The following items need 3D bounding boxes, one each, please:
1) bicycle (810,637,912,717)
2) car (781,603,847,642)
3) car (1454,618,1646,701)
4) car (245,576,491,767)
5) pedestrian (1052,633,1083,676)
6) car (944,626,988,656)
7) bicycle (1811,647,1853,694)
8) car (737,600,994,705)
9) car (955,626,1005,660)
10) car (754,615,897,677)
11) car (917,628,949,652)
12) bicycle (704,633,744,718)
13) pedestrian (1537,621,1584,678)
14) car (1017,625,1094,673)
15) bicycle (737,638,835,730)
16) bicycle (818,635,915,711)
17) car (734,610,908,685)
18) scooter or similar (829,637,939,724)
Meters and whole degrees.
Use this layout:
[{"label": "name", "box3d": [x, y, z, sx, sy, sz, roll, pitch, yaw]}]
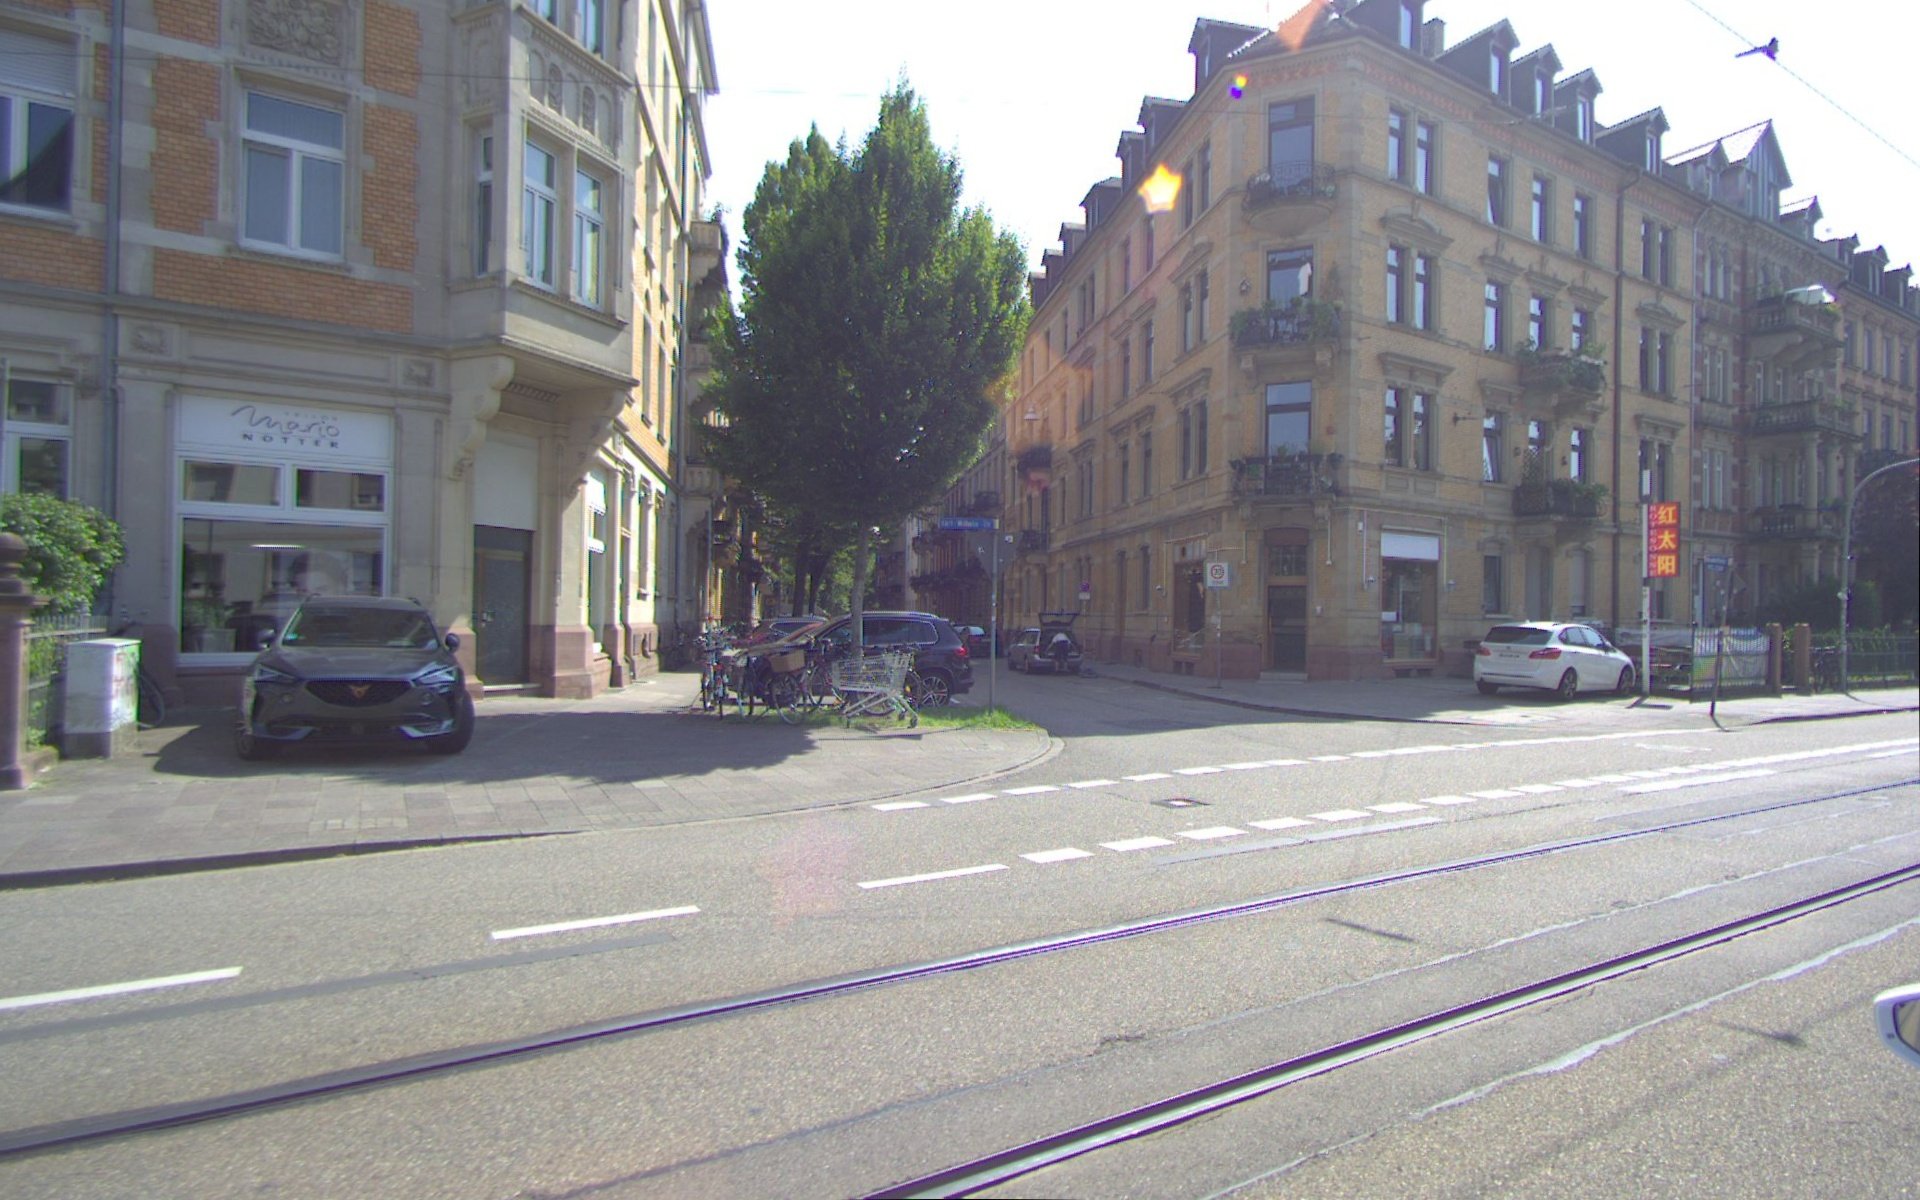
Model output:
[{"label": "bicycle", "box3d": [-1.416, 1.098, 14.417, 1.424, 1.113, 0.390, 1, 0, -6]}, {"label": "car", "box3d": [-10.070, 1.570, 69.194, 4.302, 2.508, 1.962, 3, -2, -11]}, {"label": "car", "box3d": [12.782, 1.247, 21.678, 4.316, 1.615, 1.981, 2, -2, -35]}, {"label": "car", "box3d": [-6.206, 0.625, 10.764, 1.856, 1.615, 4.084, 2, -1, -29]}, {"label": "pedestrian", "box3d": [3.222, 1.635, 30.180, 0.786, 1.243, 0.583, 2, -1, -5]}, {"label": "car", "box3d": [0.256, 2.020, 49.699, 1.577, 1.381, 3.411, 2, -2, -9]}, {"label": "bicycle", "box3d": [21.617, 1.730, 24.905, 1.552, 1.113, 0.388, 1, -1, -34]}, {"label": "car", "box3d": [-1.705, 0.924, 17.858, 4.281, 1.711, 1.997, 1, -1, -10]}, {"label": "car", "box3d": [0.854, 1.866, 44.596, 1.597, 1.381, 3.592, 2, -2, -9]}, {"label": "car", "box3d": [-3.648, 1.244, 27.302, 3.691, 1.496, 1.790, 3, -2, -9]}, {"label": "car", "box3d": [-1.635, 2.368, 60.438, 1.474, 1.327, 3.327, 2, -2, -9]}, {"label": "bicycle", "box3d": [-3.370, 1.043, 14.270, 0.384, 1.113, 1.445, 1, 0, -19]}, {"label": "pedestrian", "box3d": [16.513, 1.350, 27.602, 0.879, 1.531, 0.860, 2, -1, -39]}, {"label": "car", "box3d": [2.984, 1.521, 32.075, 1.741, 1.381, 3.712, 2, -2, -5]}, {"label": "bicycle", "box3d": [-2.301, 1.079, 13.212, 1.428, 1.113, 0.389, 1, 0, 37]}, {"label": "bicycle", "box3d": [-1.404, 1.098, 15.136, 1.424, 1.113, 0.390, 1, 0, -6]}, {"label": "car", "box3d": [-3.149, 1.058, 22.668, 3.692, 1.496, 1.846, 3, -2, -11]}, {"label": "scooter or similar", "box3d": [-1.031, 1.077, 13.660, 1.368, 1.113, 0.595, 1, 0, -21]}]
